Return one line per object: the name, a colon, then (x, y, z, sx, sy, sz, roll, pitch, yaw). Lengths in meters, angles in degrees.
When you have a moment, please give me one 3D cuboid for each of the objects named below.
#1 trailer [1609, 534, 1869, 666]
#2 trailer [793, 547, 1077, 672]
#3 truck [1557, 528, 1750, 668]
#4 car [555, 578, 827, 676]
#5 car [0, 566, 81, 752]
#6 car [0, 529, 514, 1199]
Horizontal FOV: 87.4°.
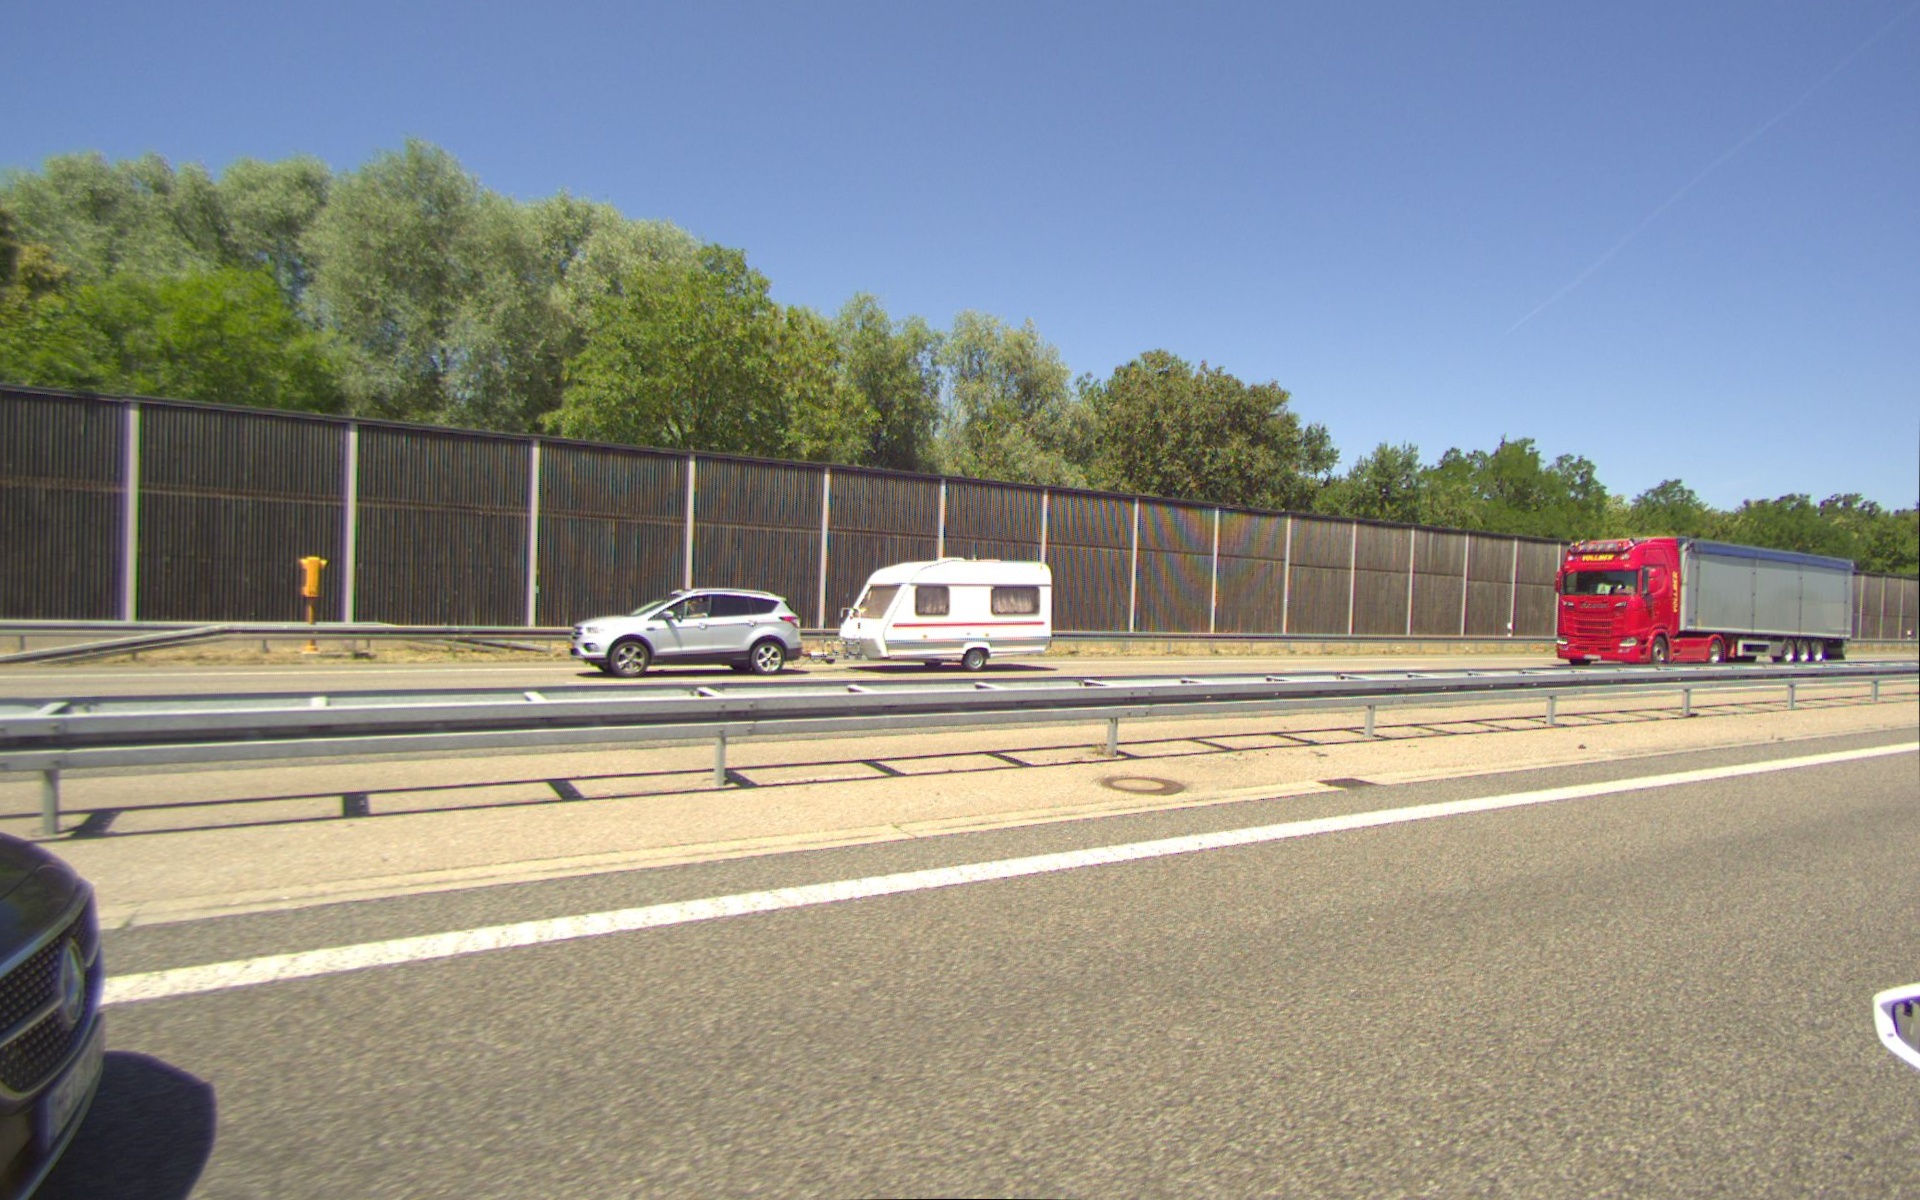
trailer: (28.159, 0.168, 35.892, 14.045, 4.130, 2.329, 2, 0, -31)
trailer: (-0.469, 0.254, 22.783, 6.198, 2.509, 2.120, 2, 0, -32)
truck: (22.538, 0.024, 32.537, 7.070, 4.130, 2.346, 2, 0, -31)
car: (-5.242, 0.533, 19.840, 4.851, 1.734, 1.889, 2, 0, -32)
car: (-10.180, 0.432, 8.073, 4.368, 1.541, 1.889, 2, 0, -31)
car: (-3.834, 0.587, 1.294, 5.755, 1.526, 1.933, 2, 0, -32)
